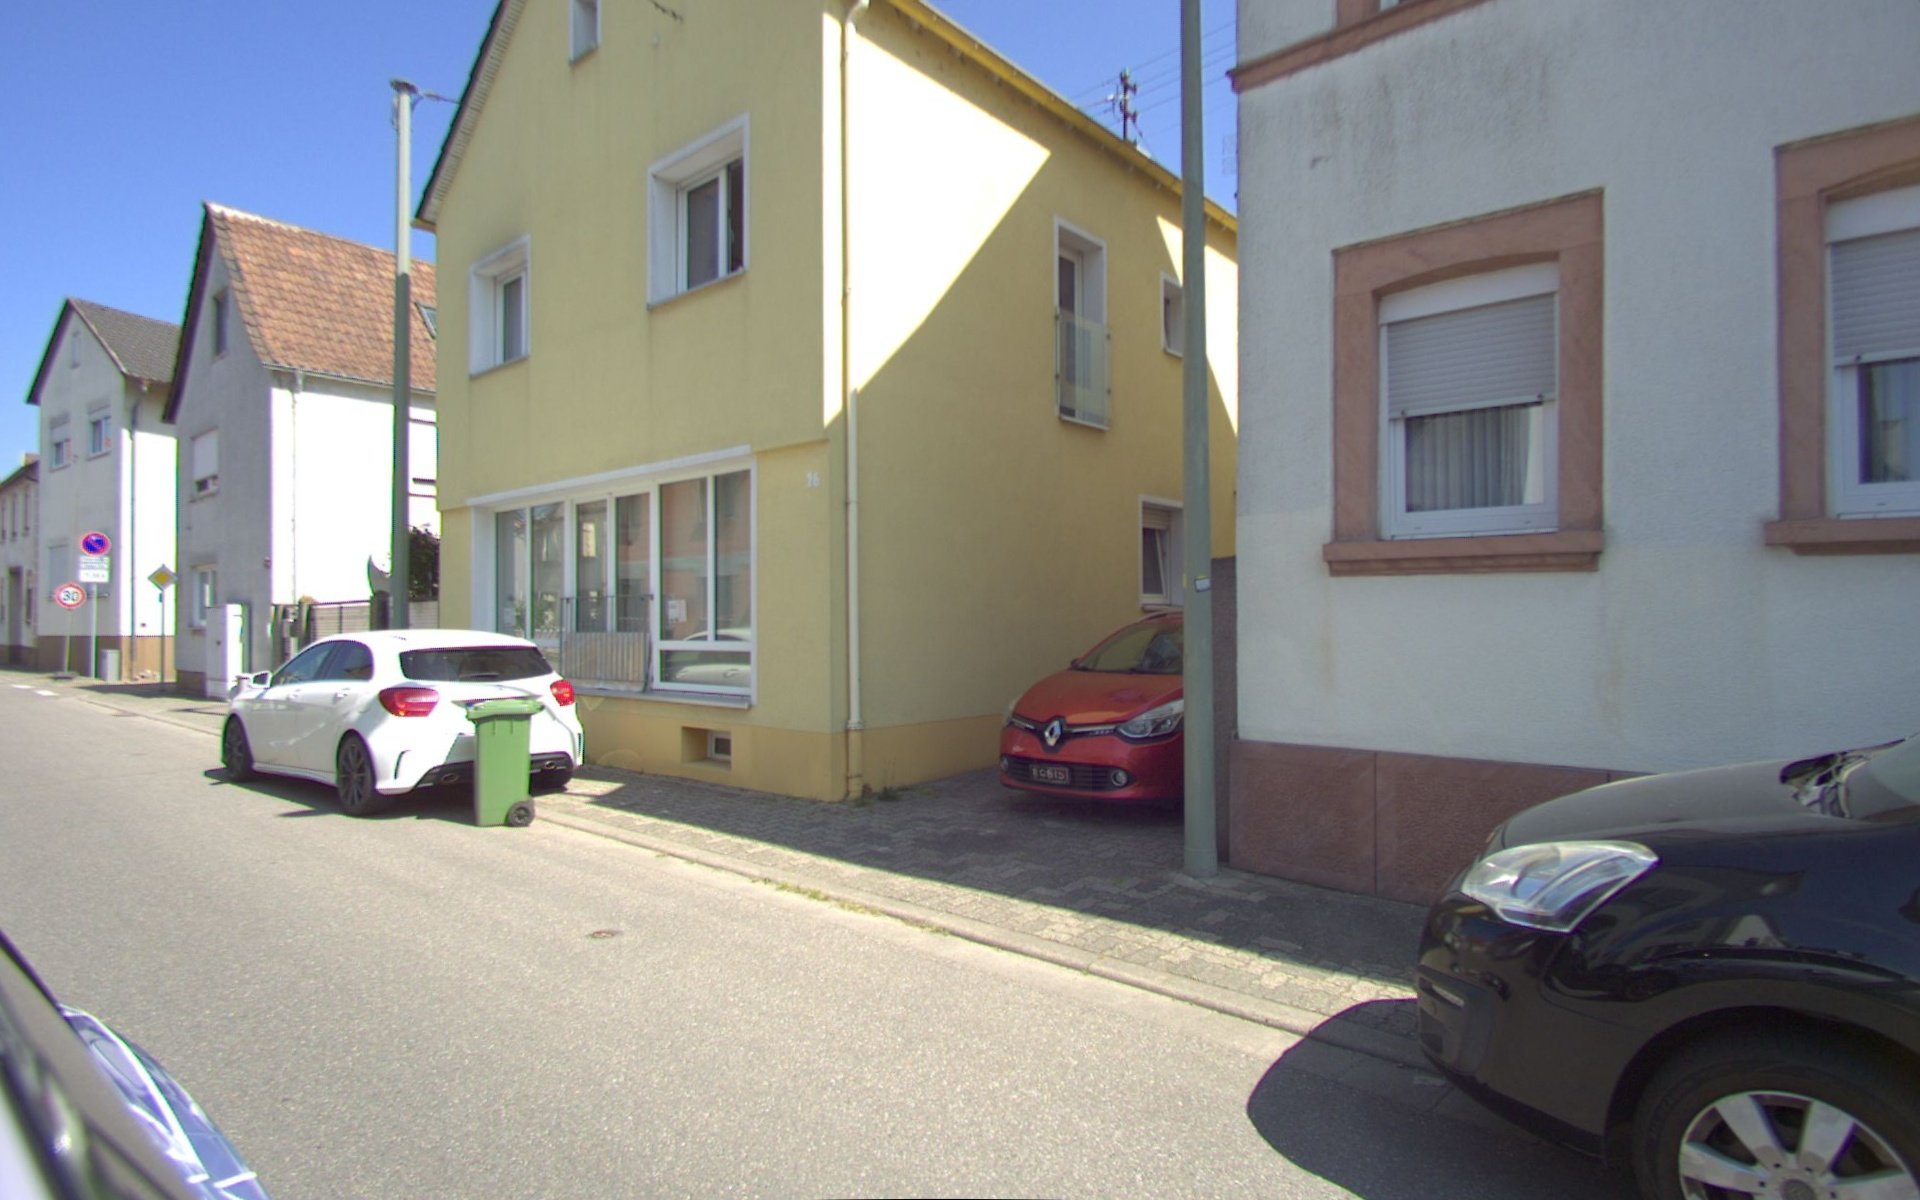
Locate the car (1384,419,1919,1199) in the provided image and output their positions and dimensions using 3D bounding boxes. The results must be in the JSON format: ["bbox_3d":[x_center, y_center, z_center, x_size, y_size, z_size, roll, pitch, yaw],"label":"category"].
[{"bbox_3d":[3.338,0.564,1.885,4.351,1.851,1.815,-1,-2,41],"label":"car"}]

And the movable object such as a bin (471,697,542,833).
[{"bbox_3d":[-3.359,1.200,7.489,0.419,0.911,0.497,0,-2,-31],"label":"movable object such as a bin"}]

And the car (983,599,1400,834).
[{"bbox_3d":[2.047,0.759,8.262,1.675,1.469,3.705,-2,-2,43],"label":"car"}]

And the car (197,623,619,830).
[{"bbox_3d":[-5.164,0.970,9.258,4.264,1.475,1.817,-1,-3,38],"label":"car"}]
